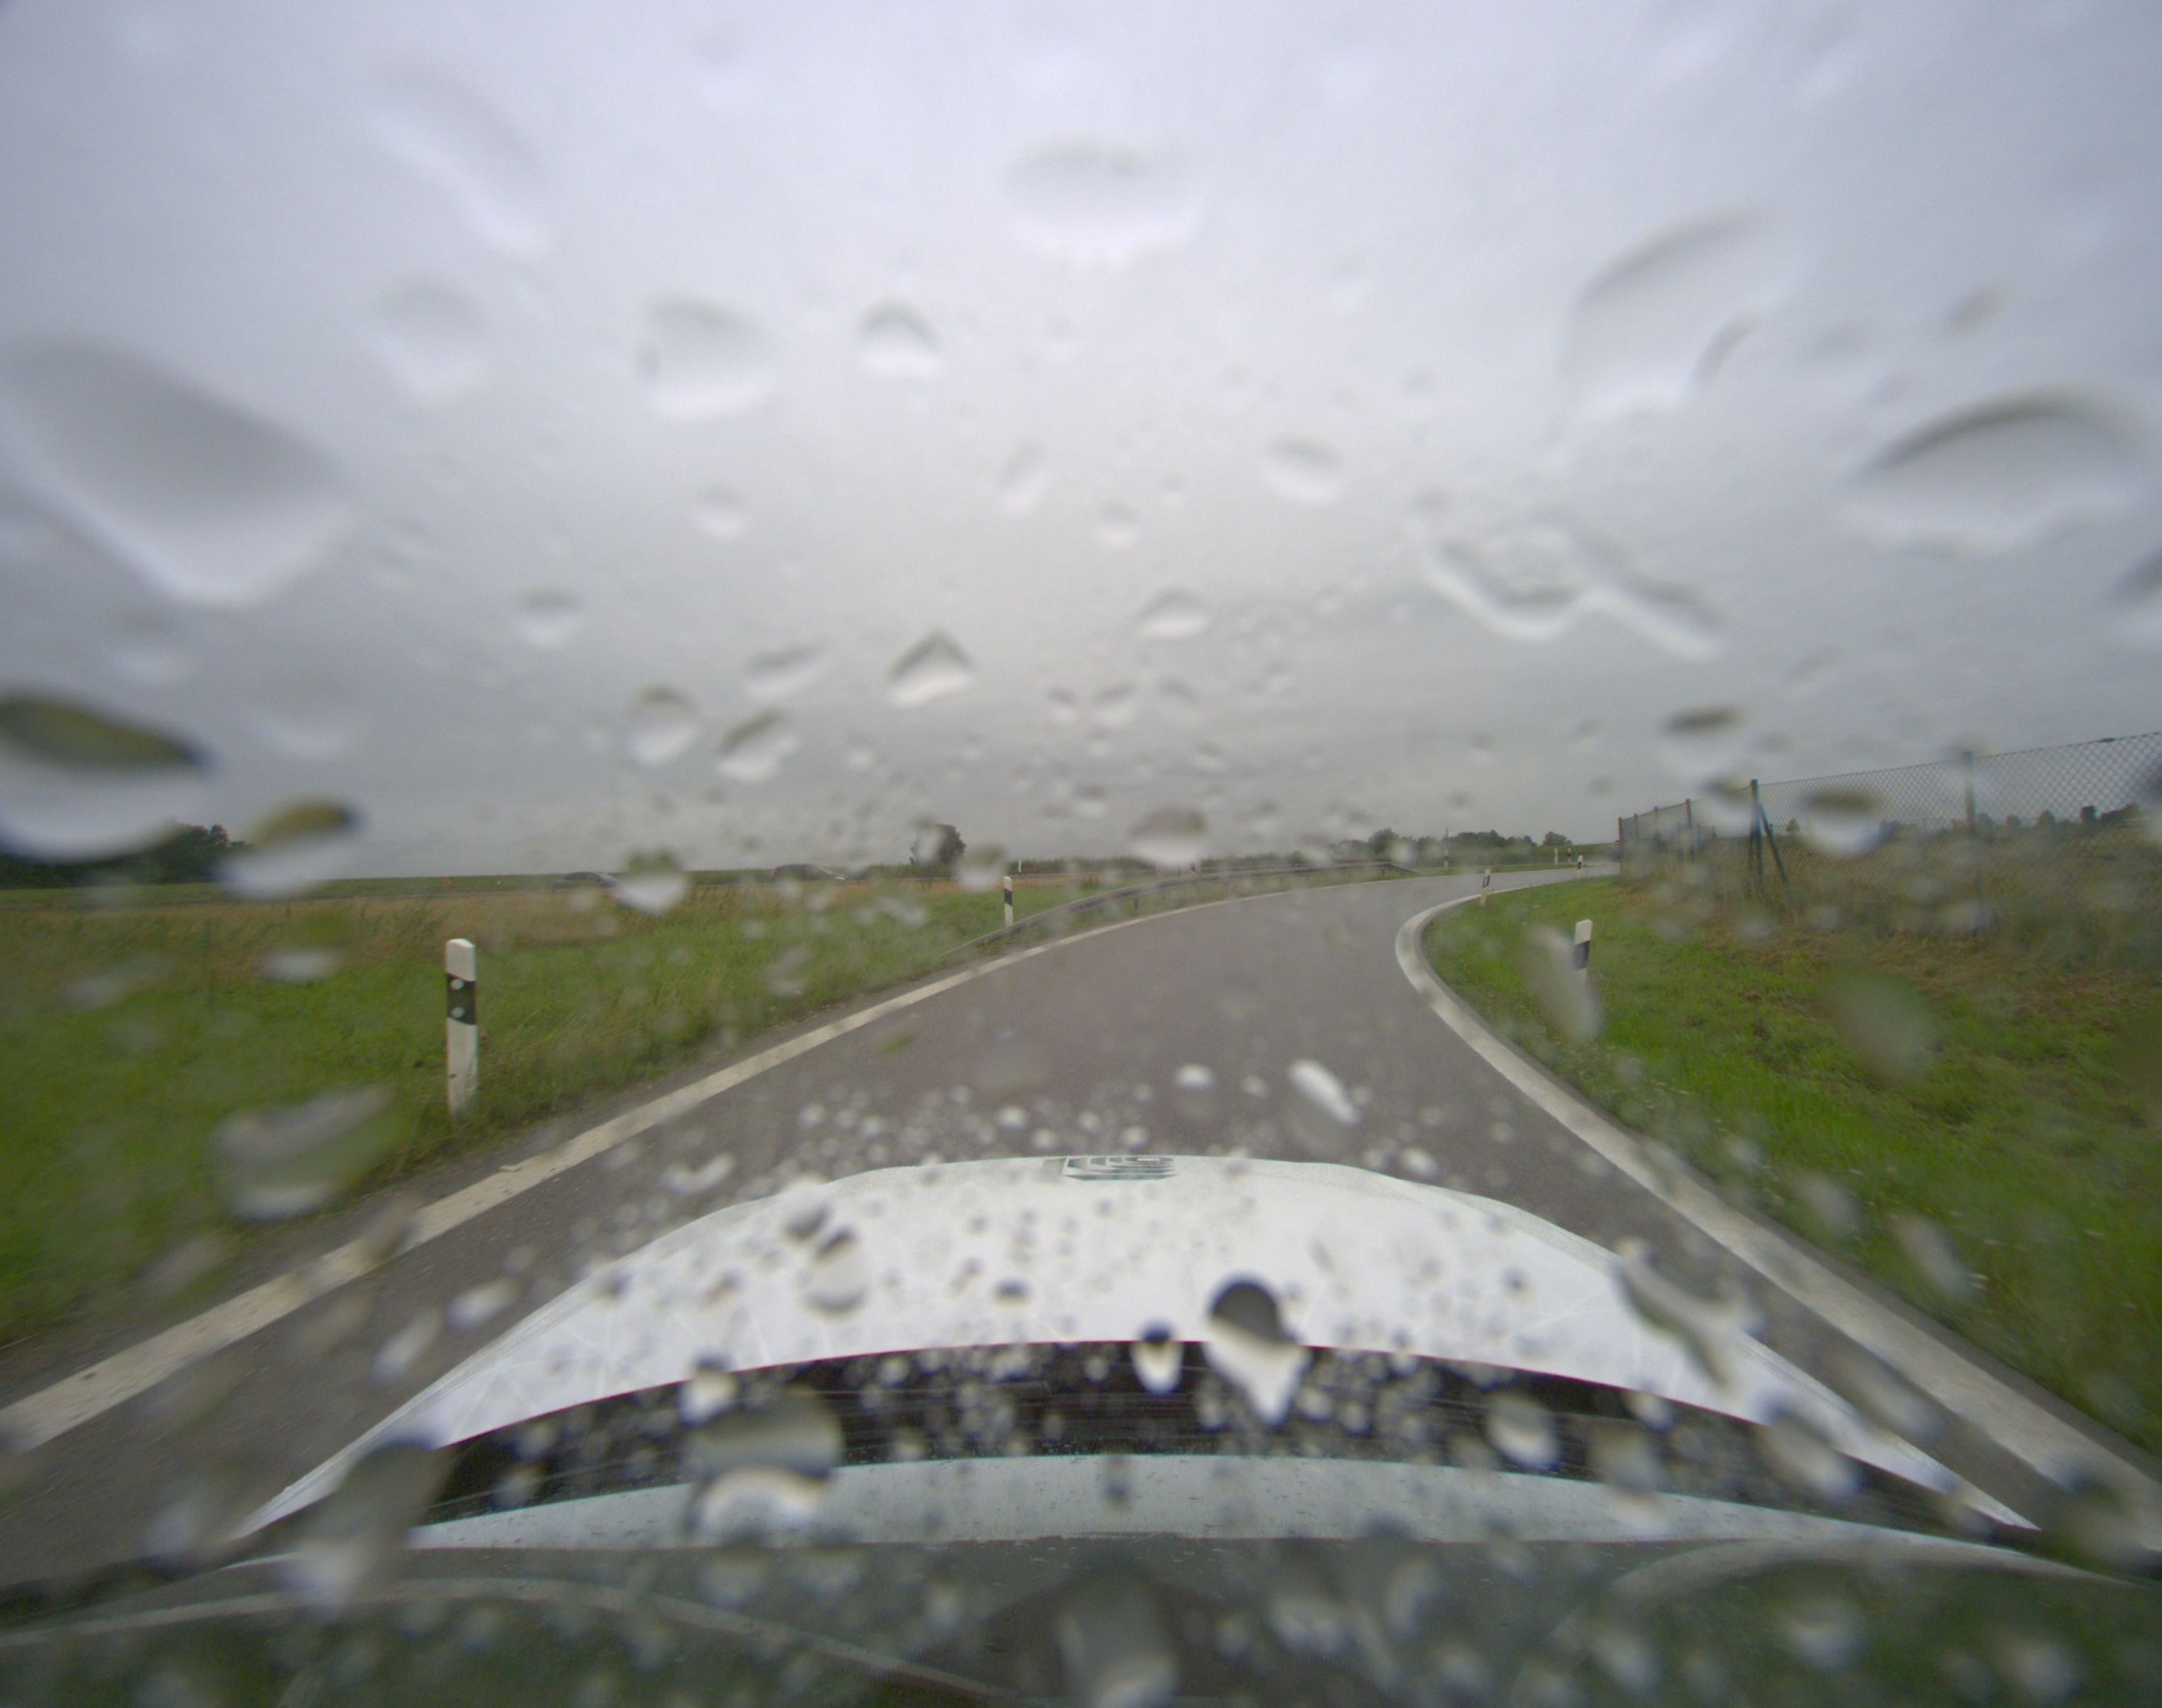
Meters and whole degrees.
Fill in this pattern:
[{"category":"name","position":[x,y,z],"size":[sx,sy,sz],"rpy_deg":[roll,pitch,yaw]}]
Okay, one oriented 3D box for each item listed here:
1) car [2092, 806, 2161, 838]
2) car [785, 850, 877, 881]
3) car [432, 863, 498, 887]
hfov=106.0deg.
[{"category":"car","position":[66.262,-2.031,50.735],"size":[3.975,1.698,1.999],"rpy_deg":[-4,-3,-1]},{"category":"car","position":[-14.353,0.637,46.923],"size":[4.566,1.636,2.152],"rpy_deg":[-1,0,-1]},{"category":"car","position":[-51.392,1.759,68.026],"size":[3.980,1.736,1.733],"rpy_deg":[-2,0,-5]}]
